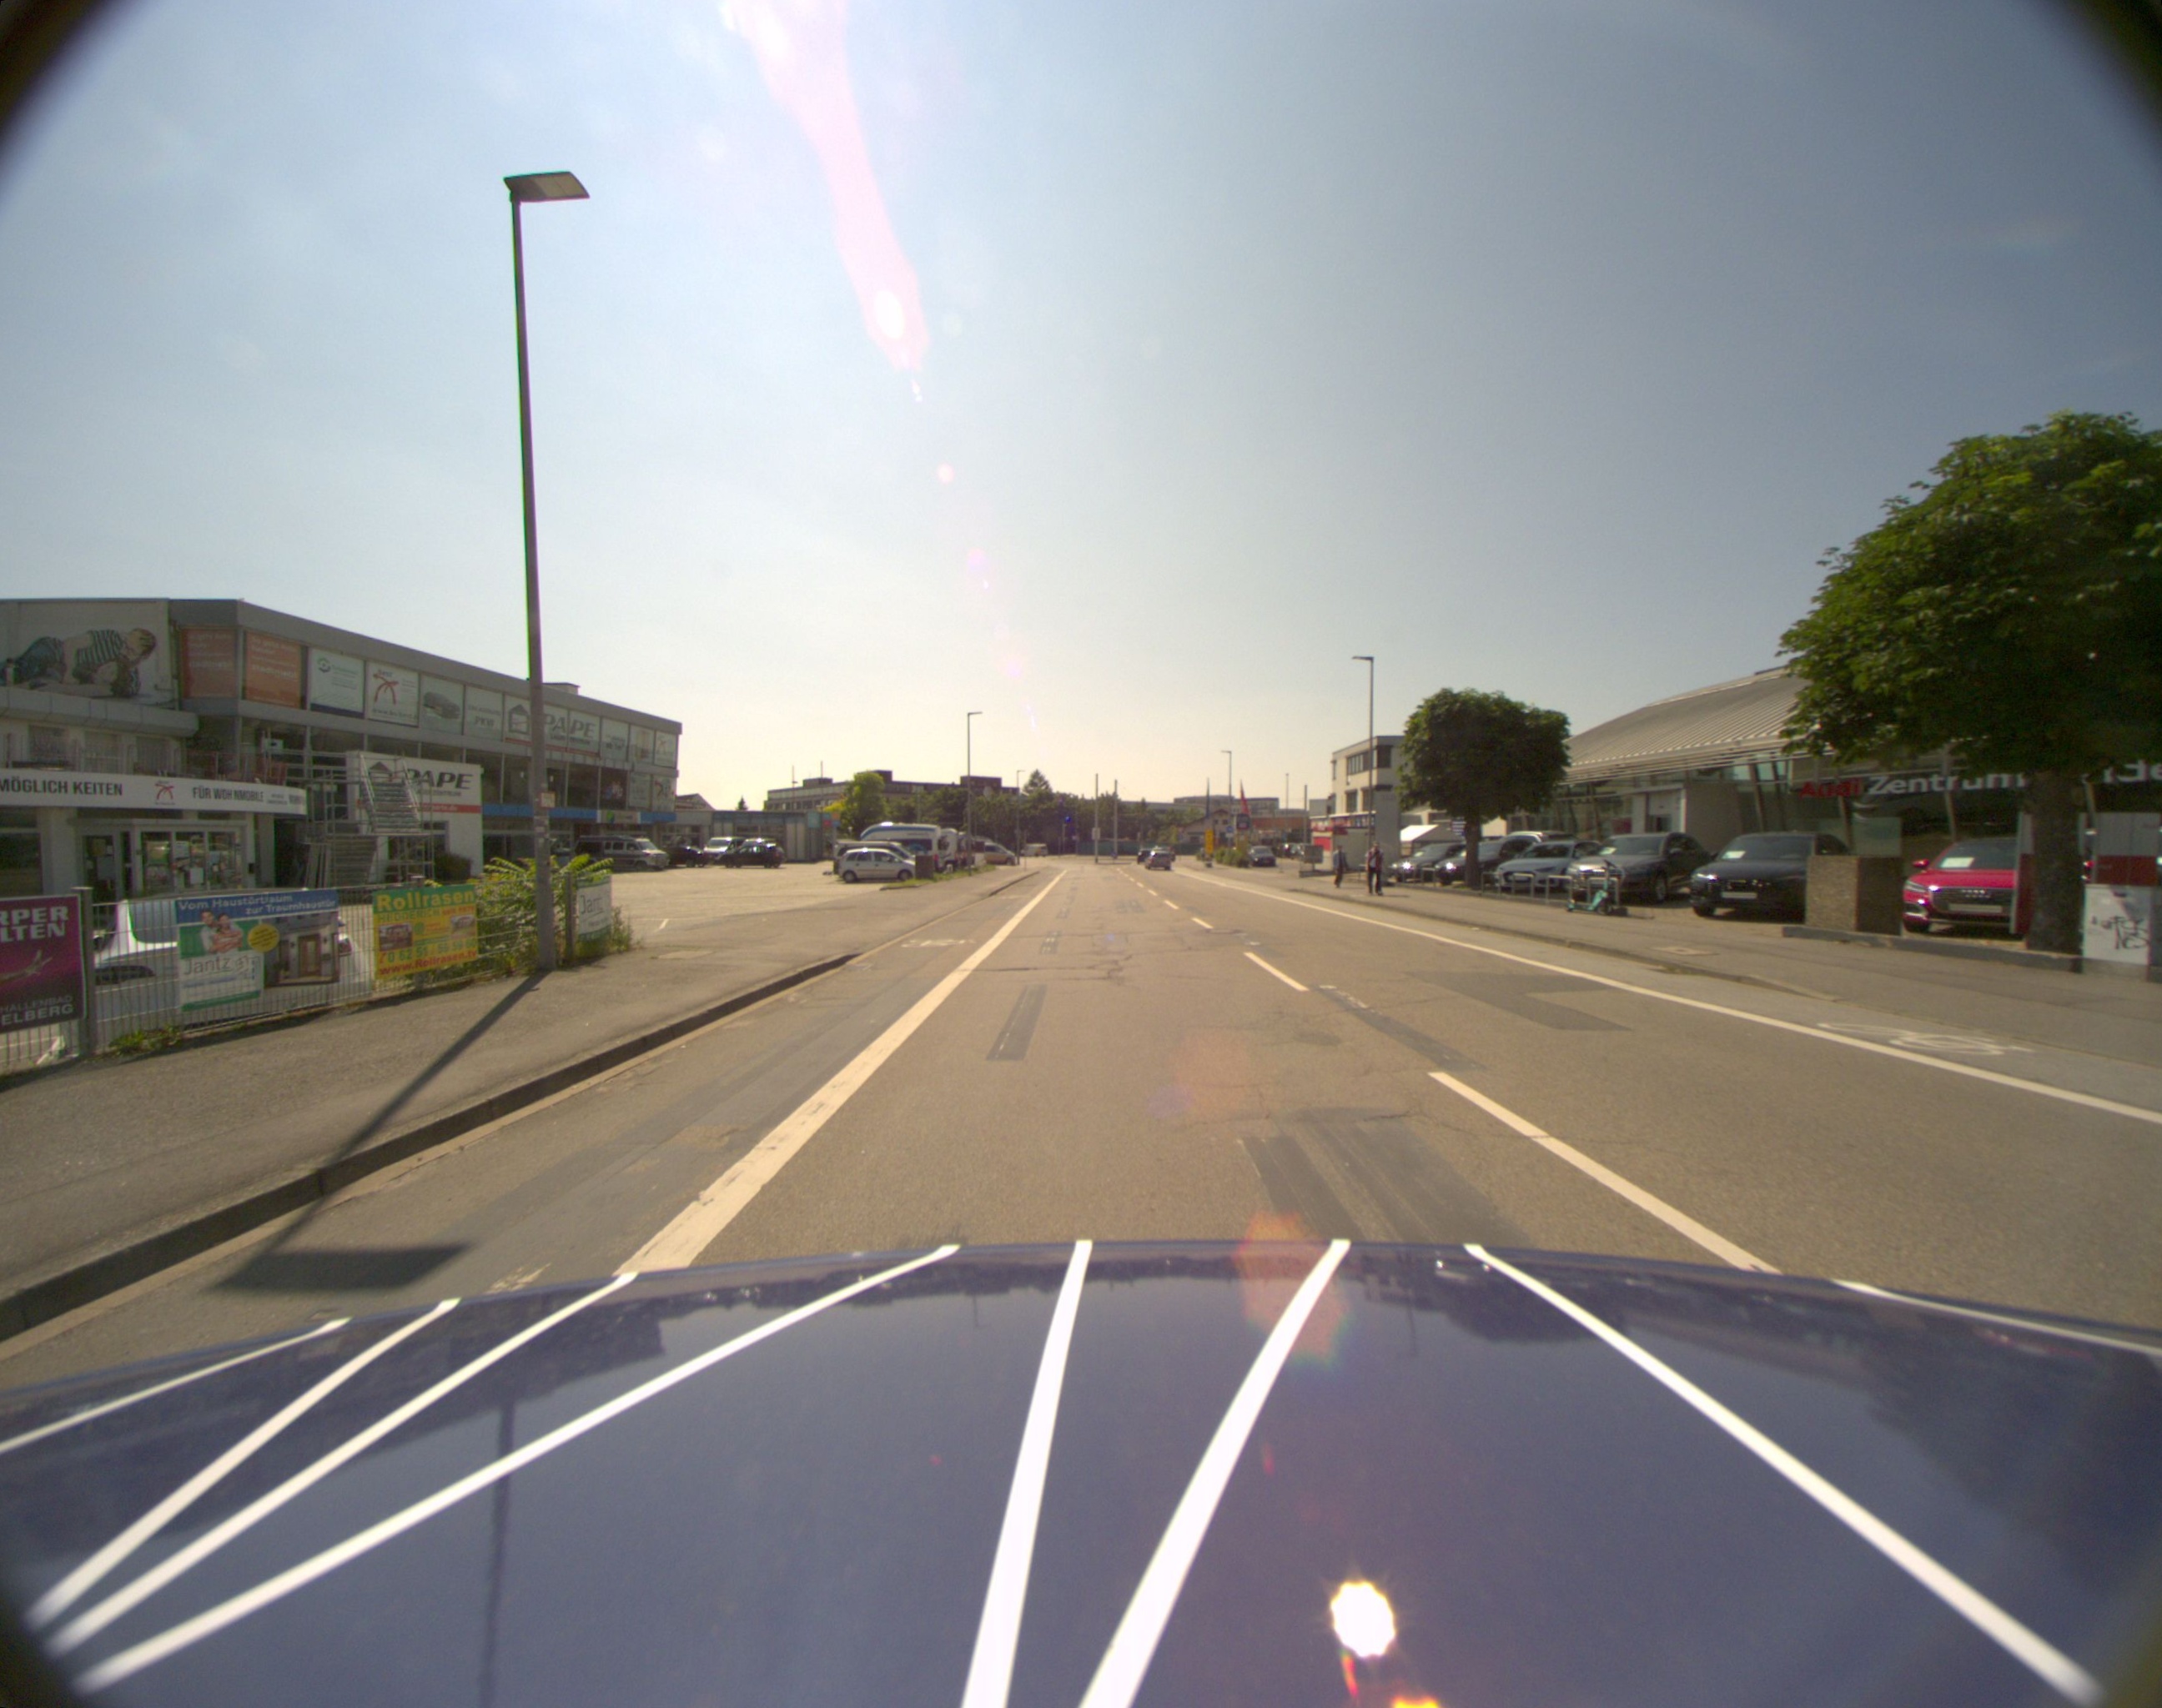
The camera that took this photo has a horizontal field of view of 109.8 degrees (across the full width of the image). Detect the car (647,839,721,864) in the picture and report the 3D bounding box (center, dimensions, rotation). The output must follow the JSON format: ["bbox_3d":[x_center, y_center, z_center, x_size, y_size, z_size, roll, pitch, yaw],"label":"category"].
[{"bbox_3d":[-27.751,-0.205,53.210,4.117,1.723,1.999,0,1,-3],"label":"car"}]

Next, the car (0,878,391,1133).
[{"bbox_3d":[-9.231,1.242,8.231,5.032,1.613,2.026,0,6,43],"label":"car"}]

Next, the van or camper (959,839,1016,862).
[{"bbox_3d":[-8.856,-0.347,72.232,4.990,2.034,2.037,0,2,-30],"label":"van or camper"}]

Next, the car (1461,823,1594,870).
[{"bbox_3d":[18.567,-0.318,31.903,2.001,1.710,4.725,-4,2,-15],"label":"car"}]

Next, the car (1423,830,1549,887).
[{"bbox_3d":[14.370,0.139,26.896,4.489,1.599,1.961,-5,-1,-35],"label":"car"}]

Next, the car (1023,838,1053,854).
[{"bbox_3d":[-6.935,-1.254,122.431,4.420,1.938,2.001,9,10,38],"label":"car"}]

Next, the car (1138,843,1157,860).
[{"bbox_3d":[6.279,-0.270,71.837,1.664,1.446,4.241,2,1,3],"label":"car"}]

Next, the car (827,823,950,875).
[{"bbox_3d":[-10.683,-0.274,42.568,6.243,2.853,2.320,0,1,1],"label":"car"}]

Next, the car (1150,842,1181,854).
[{"bbox_3d":[12.269,-0.838,110.407,3.988,1.696,2.004,0,1,36],"label":"car"}]

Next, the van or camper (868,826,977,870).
[{"bbox_3d":[-10.024,-0.407,48.471,6.365,2.701,2.712,0,1,1],"label":"van or camper"}]

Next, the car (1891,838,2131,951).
[{"bbox_3d":[15.256,0.550,12.439,4.006,1.541,1.854,-1,1,-30],"label":"car"}]

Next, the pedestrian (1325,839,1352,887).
[{"bbox_3d":[10.092,0.339,29.833,0.725,1.838,0.911,0,1,0],"label":"pedestrian"}]

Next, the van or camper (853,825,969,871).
[{"bbox_3d":[-10.103,-0.347,45.632,6.365,2.685,2.712,0,1,1],"label":"van or camper"}]

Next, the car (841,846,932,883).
[{"bbox_3d":[-9.445,0.494,37.139,3.931,1.584,1.798,-2,1,0],"label":"car"}]

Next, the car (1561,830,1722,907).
[{"bbox_3d":[14.087,0.281,19.009,4.588,1.687,1.854,-2,1,-35],"label":"car"}]

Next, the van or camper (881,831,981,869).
[{"bbox_3d":[-10.020,-0.268,51.127,6.211,2.510,2.618,0,1,1],"label":"van or camper"}]

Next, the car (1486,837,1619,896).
[{"bbox_3d":[14.191,0.301,22.809,4.210,1.486,1.869,-3,2,-35],"label":"car"}]

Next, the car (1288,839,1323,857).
[{"bbox_3d":[18.891,-0.517,64.111,1.911,1.413,4.419,0,1,4],"label":"car"}]

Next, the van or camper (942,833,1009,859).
[{"bbox_3d":[-10.746,-0.830,77.979,6.375,2.621,2.526,-1,1,-35],"label":"van or camper"}]

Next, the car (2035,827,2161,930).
[{"bbox_3d":[18.603,0.396,12.057,1.998,1.674,4.000,-1,1,4],"label":"car"}]

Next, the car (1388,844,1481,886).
[{"bbox_3d":[14.140,0.404,30.292,4.168,1.451,1.902,-3,2,-42],"label":"car"}]

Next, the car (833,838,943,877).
[{"bbox_3d":[-10.110,0.182,40.030,5.247,1.941,2.000,1,1,0],"label":"car"}]

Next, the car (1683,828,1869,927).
[{"bbox_3d":[14.546,0.389,15.842,4.488,1.698,1.906,-3,2,-35],"label":"car"}]

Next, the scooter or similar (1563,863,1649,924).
[{"bbox_3d":[11.518,0.841,16.733,0.746,1.240,1.489,-1,1,-7],"label":"scooter or similar"}]

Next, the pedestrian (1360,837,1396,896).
[{"bbox_3d":[9.662,0.392,24.759,0.734,1.857,1.047,0,1,0],"label":"pedestrian"}]

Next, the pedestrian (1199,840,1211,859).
[{"bbox_3d":[10.905,-0.416,66.971,0.995,1.676,0.800,0,1,12],"label":"pedestrian"}]

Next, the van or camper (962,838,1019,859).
[{"bbox_3d":[-8.989,-0.543,75.621,5.148,2.064,2.445,-1,1,-32],"label":"van or camper"}]

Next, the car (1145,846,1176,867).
[{"bbox_3d":[5.976,0.169,57.318,1.746,1.396,4.323,4,1,0],"label":"car"}]

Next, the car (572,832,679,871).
[{"bbox_3d":[-28.431,-0.156,47.577,5.310,2.405,2.325,0,1,0],"label":"car"}]

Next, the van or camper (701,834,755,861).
[{"bbox_3d":[-27.228,-0.507,58.733,2.123,2.002,5.112,0,1,-5],"label":"van or camper"}]

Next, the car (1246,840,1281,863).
[{"bbox_3d":[14.194,-0.231,59.354,1.909,1.705,4.000,0,1,3],"label":"car"}]

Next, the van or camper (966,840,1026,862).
[{"bbox_3d":[-7.802,-0.274,69.814,5.145,1.950,1.981,0,2,-30],"label":"van or camper"}]

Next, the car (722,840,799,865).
[{"bbox_3d":[-22.488,-0.120,53.487,4.550,1.668,1.999,0,1,-3],"label":"car"}]

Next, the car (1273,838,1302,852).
[{"bbox_3d":[20.652,-0.876,76.183,1.911,1.380,4.485,0,1,4],"label":"car"}]
